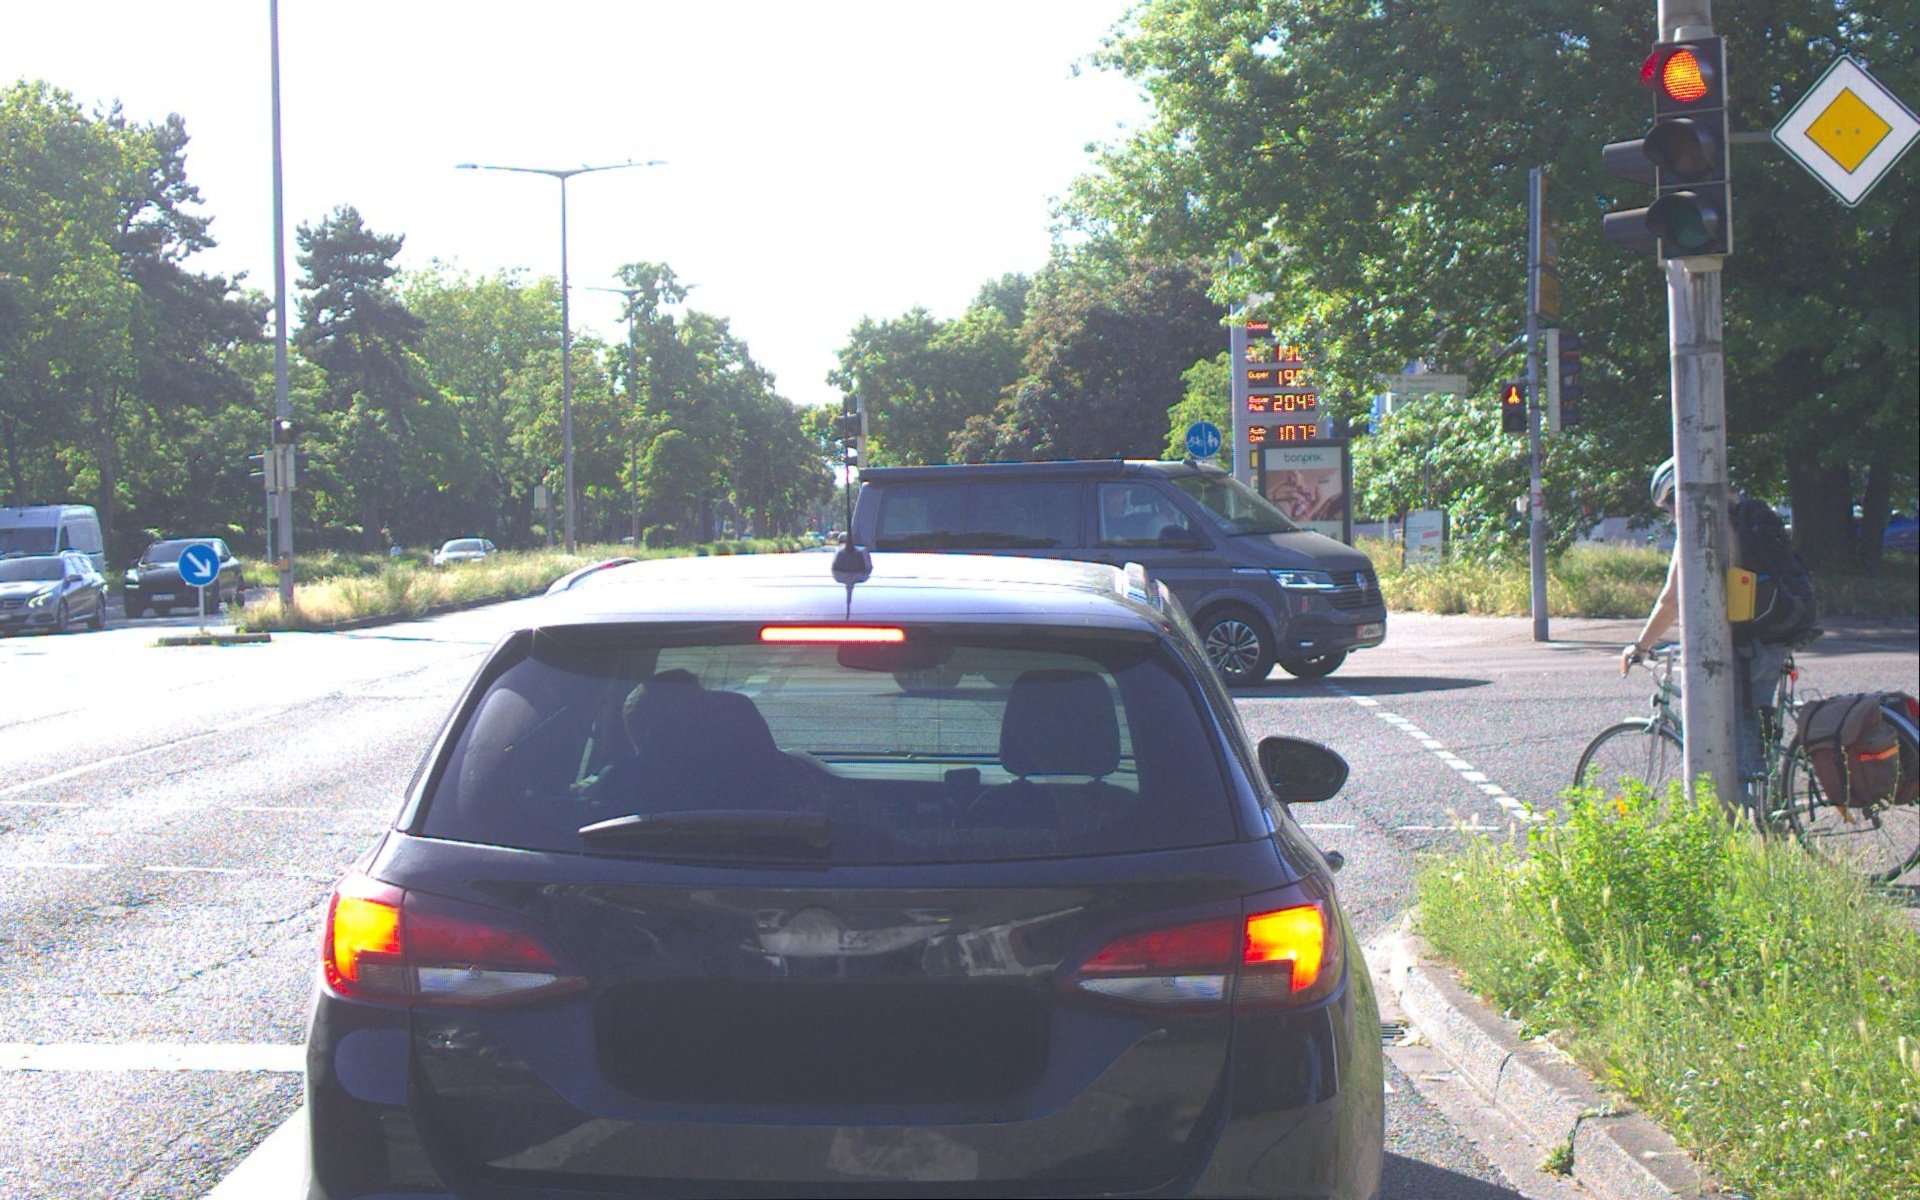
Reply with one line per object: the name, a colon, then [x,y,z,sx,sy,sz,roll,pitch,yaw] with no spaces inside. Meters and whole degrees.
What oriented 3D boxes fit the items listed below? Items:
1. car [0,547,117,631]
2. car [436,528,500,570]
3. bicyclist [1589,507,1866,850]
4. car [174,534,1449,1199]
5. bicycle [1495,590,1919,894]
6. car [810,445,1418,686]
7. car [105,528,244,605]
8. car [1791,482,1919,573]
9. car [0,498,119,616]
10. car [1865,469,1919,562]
car: [-16.799,-0.216,62.807,1.686,1.428,4.615,-2,1,-1]
car: [-17.903,-1.860,125.232,1.776,1.458,4.165,-1,1,-1]
bicyclist: [2.972,0.304,13.335,0.536,1.272,0.829,-3,0,-44]
car: [-0.229,0.631,6.852,1.756,1.490,4.207,0,1,-1]
bicycle: [2.982,0.545,13.339,0.536,1.094,1.775,-3,0,-44]
car: [1.333,-0.282,30.437,5.006,1.985,1.915,-1,1,28]
car: [-17.204,-0.765,75.503,1.993,1.596,4.616,-1,1,-1]
car: [16.617,-1.291,59.808,3.887,1.512,1.746,-2,1,-23]
car: [-20.455,-0.961,76.347,2.100,2.484,6.004,-2,1,-1]
car: [17.093,-1.433,56.722,3.887,1.512,1.746,-2,1,-23]
